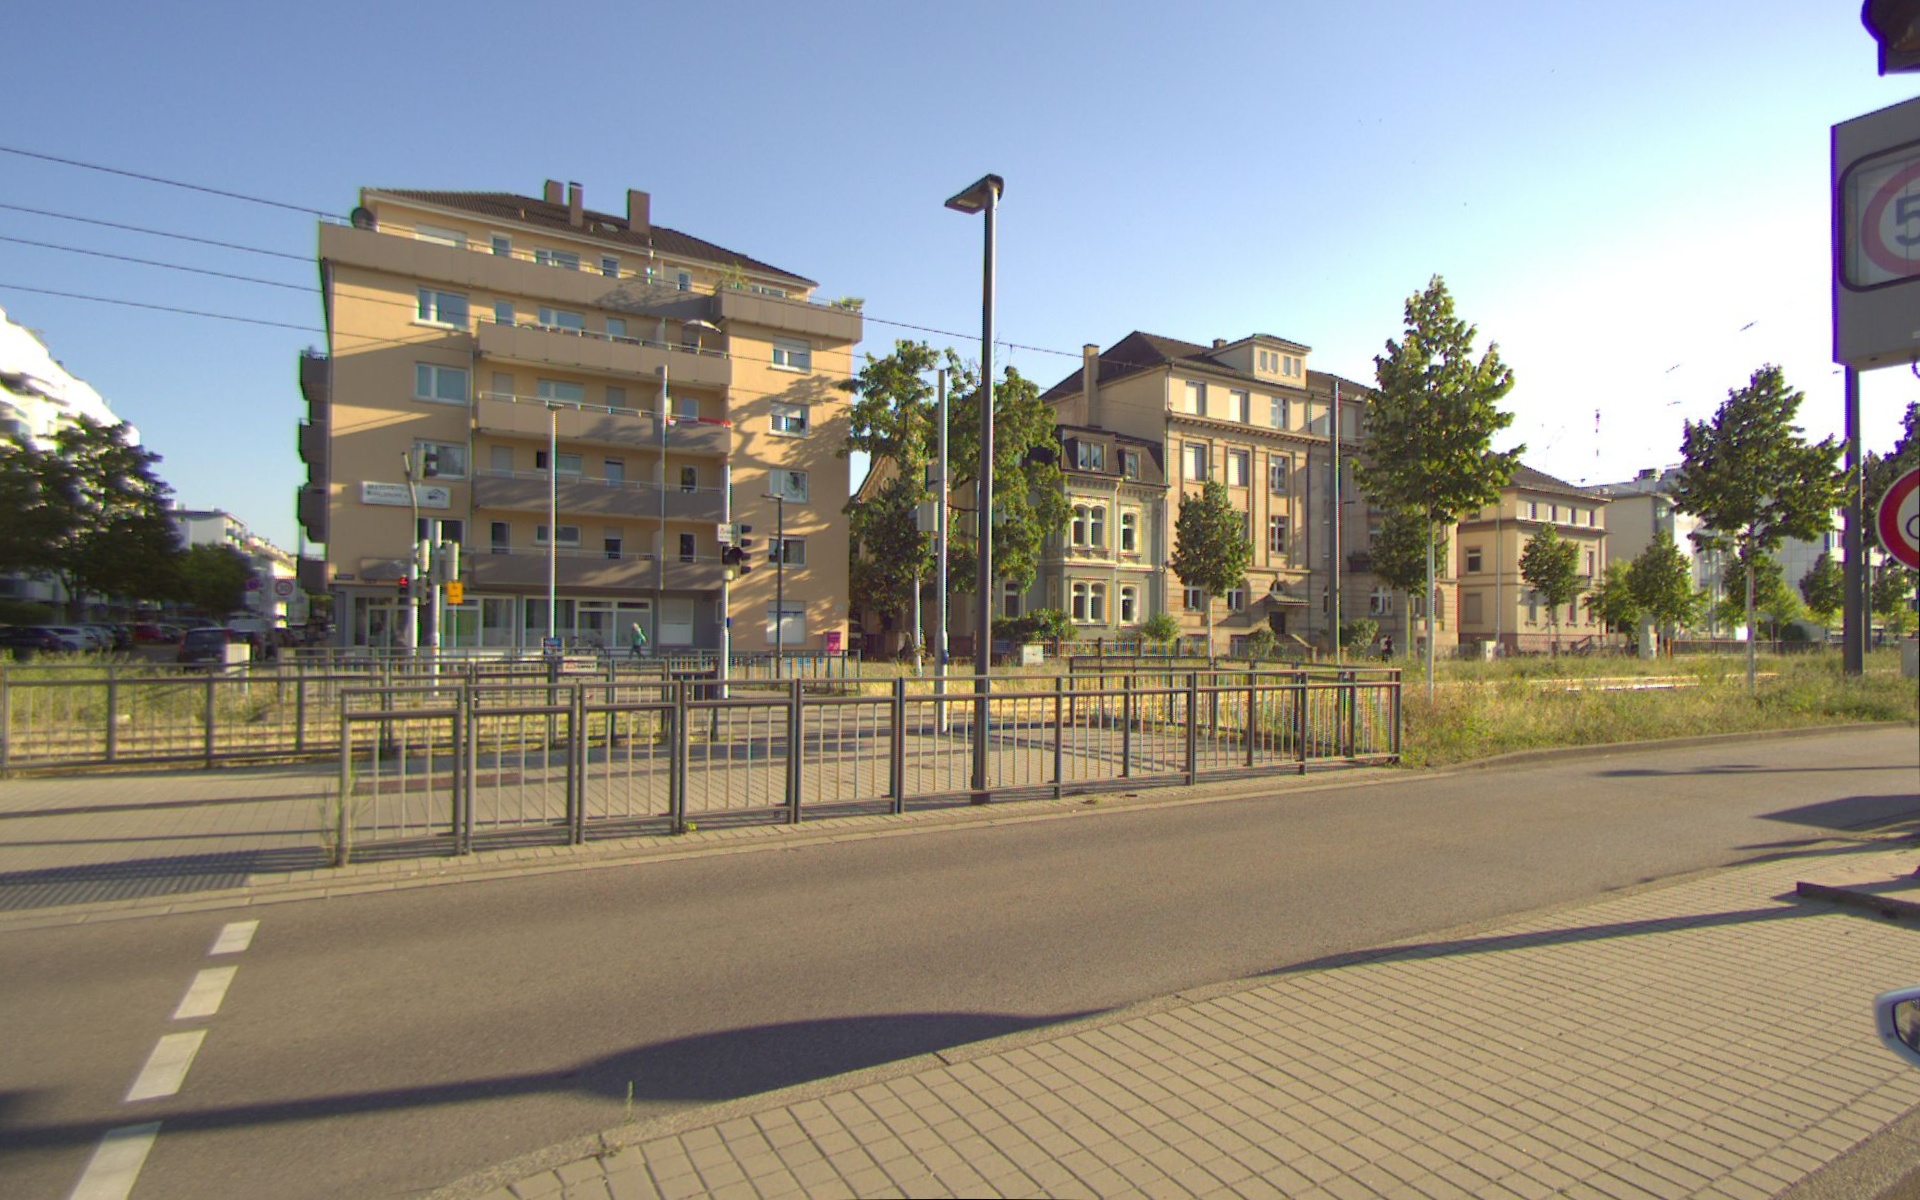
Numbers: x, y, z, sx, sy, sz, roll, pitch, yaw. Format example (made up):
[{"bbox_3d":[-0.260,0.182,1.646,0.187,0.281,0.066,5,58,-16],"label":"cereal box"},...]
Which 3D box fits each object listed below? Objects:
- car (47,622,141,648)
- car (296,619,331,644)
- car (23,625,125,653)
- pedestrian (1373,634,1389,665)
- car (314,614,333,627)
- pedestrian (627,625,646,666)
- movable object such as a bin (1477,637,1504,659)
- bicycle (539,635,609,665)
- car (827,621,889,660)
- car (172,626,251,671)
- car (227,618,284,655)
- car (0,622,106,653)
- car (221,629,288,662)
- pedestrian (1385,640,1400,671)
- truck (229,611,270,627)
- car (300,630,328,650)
[{"bbox_3d":[-52.523,2.107,61.030,3.953,1.533,1.984,2,-2,-30],"label":"car"},{"bbox_3d":[-43.958,2.137,68.359,1.801,1.627,3.855,2,-2,-30],"label":"car"},{"bbox_3d":[-49.916,2.214,56.691,3.953,1.533,1.984,2,-2,-30],"label":"car"},{"bbox_3d":[24.471,2.877,58.387,0.646,1.743,0.652,1,-2,-32],"label":"pedestrian"},{"bbox_3d":[-77.762,2.493,122.755,1.801,1.627,3.855,2,-2,-30],"label":"car"},{"bbox_3d":[-12.579,1.783,39.089,0.442,1.576,0.517,-1,-2,44],"label":"pedestrian"},{"bbox_3d":[34.882,3.157,66.073,1.068,1.447,1.199,1,-2,-32],"label":"movable object such as a bin"},{"bbox_3d":[-15.338,1.982,39.953,2.557,1.152,0.528,2,-2,-32],"label":"bicycle"},{"bbox_3d":[-5.636,2.191,54.897,1.976,2.073,3.970,1,-2,-29],"label":"car"},{"bbox_3d":[-26.631,1.694,35.849,1.826,1.516,3.967,2,-2,-31],"label":"car"},{"bbox_3d":[-35.157,1.825,50.228,1.977,1.766,3.968,2,-2,-30],"label":"car"},{"bbox_3d":[-47.323,1.946,52.330,3.953,1.533,1.984,2,-2,-30],"label":"car"},{"bbox_3d":[-30.317,1.925,43.260,1.977,1.321,3.968,2,-2,-30],"label":"car"},{"bbox_3d":[24.880,3.193,57.754,0.646,1.743,0.552,1,-2,-32],"label":"pedestrian"},{"bbox_3d":[-98.471,2.679,139.335,4.571,2.197,1.805,2,-2,-35],"label":"truck"},{"bbox_3d":[-53.858,3.342,83.807,1.801,1.627,3.855,2,-2,-30],"label":"car"}]
